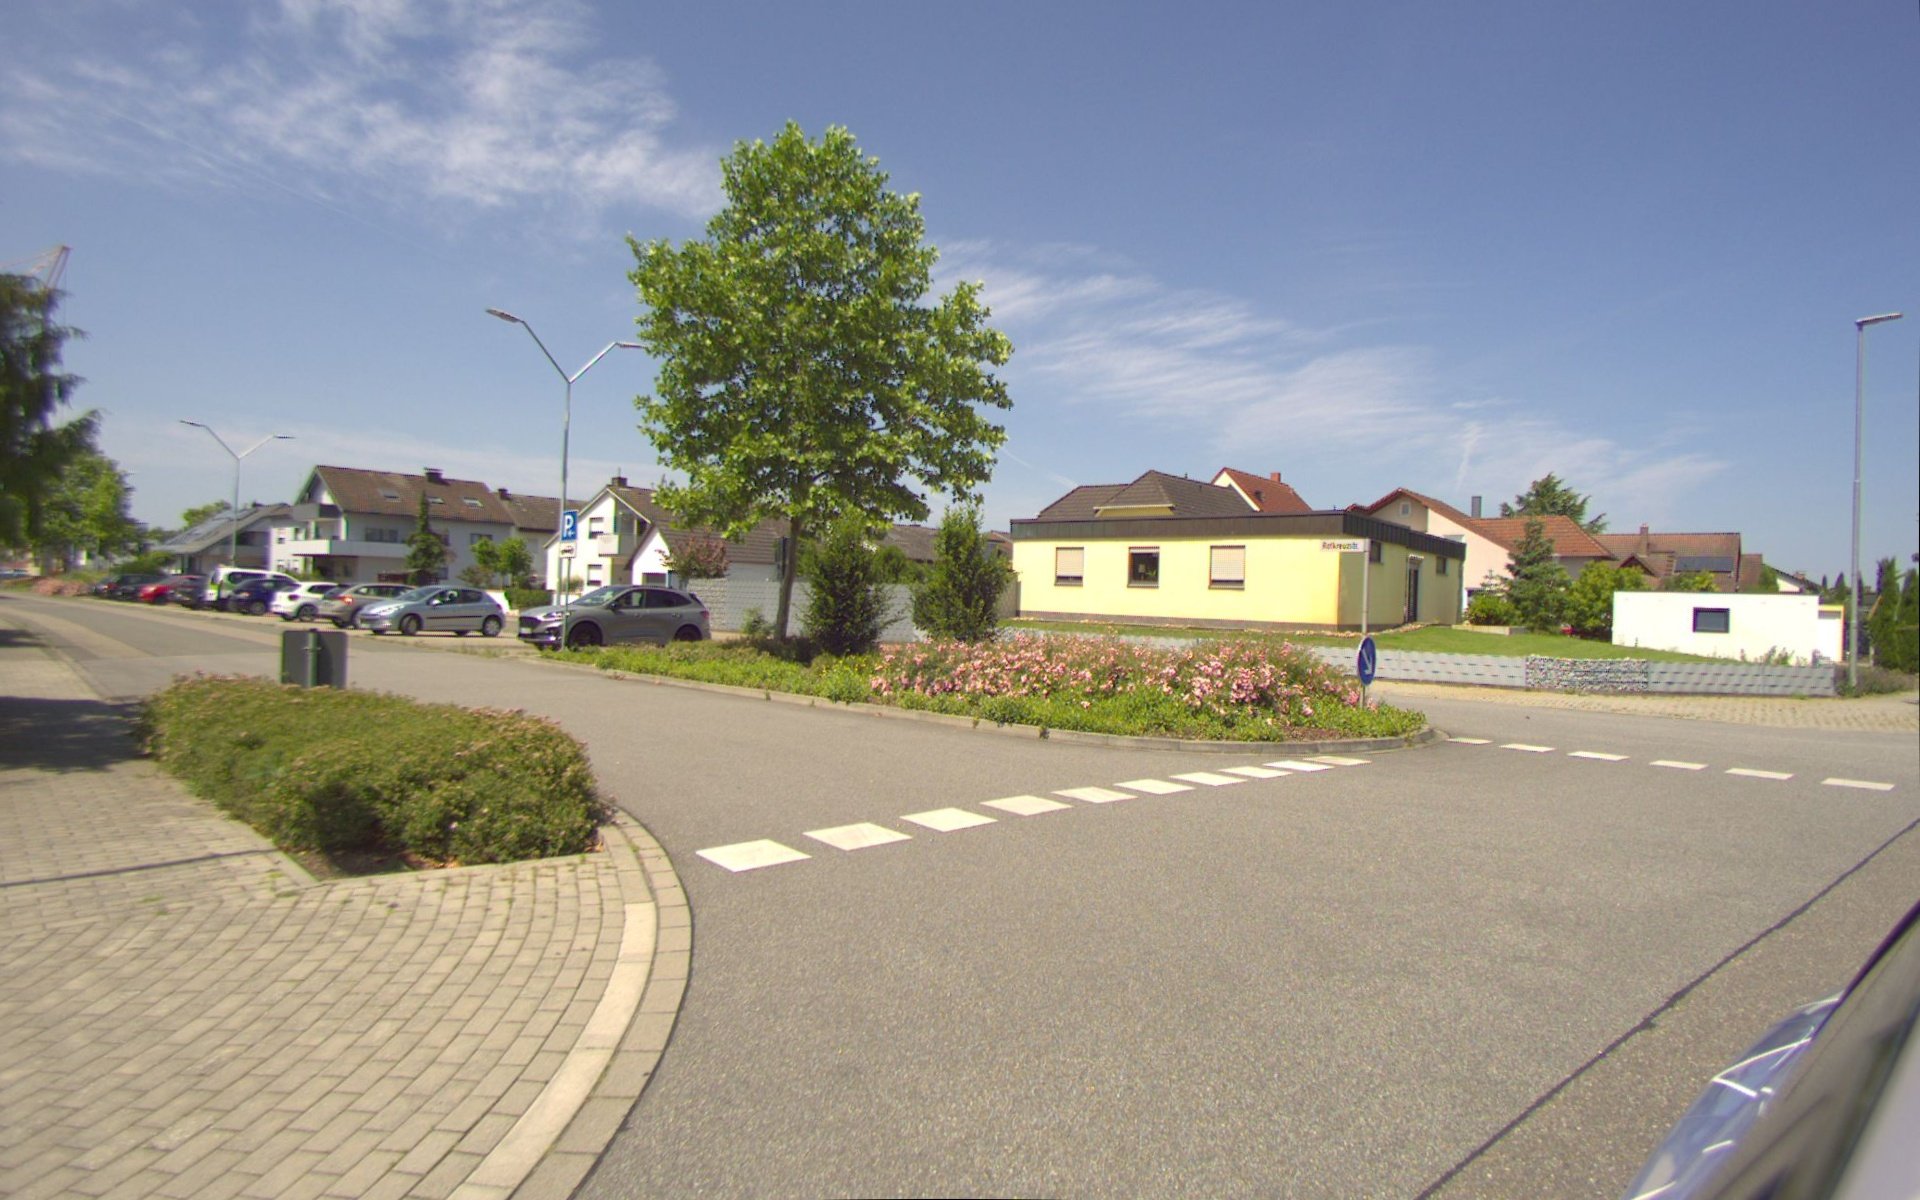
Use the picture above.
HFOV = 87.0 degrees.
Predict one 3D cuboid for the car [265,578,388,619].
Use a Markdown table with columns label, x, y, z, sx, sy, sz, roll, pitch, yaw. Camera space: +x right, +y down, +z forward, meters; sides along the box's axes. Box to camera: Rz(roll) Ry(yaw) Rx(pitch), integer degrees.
| label | x | y | z | sx | sy | sz | roll | pitch | yaw |
| --- | --- | --- | --- | --- | --- | --- | --- | --- | --- |
| car | -22.525 | -0.032 | 36.066 | 1.508 | 1.374 | 3.451 | -1 | -2 | 41 |

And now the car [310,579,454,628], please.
| label | x | y | z | sx | sy | sz | roll | pitch | yaw |
| --- | --- | --- | --- | --- | --- | --- | --- | --- | --- |
| car | -18.295 | 0.106 | 32.140 | 1.639 | 1.450 | 3.636 | 2 | 0 | 41 |

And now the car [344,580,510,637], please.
| label | x | y | z | sx | sy | sz | roll | pitch | yaw |
| --- | --- | --- | --- | --- | --- | --- | --- | --- | --- |
| car | -15.323 | 0.240 | 29.277 | 1.633 | 1.488 | 3.958 | 2 | 0 | 31 |

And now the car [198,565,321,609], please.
| label | x | y | z | sx | sy | sz | roll | pitch | yaw |
| --- | --- | --- | --- | --- | --- | --- | --- | --- | --- |
| car | -29.582 | -0.507 | 42.813 | 1.751 | 1.719 | 3.943 | 0 | -1 | 39 |

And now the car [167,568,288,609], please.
| label | x | y | z | sx | sy | sz | roll | pitch | yaw |
| --- | --- | --- | --- | --- | --- | --- | --- | --- | --- |
| car | -31.752 | -0.463 | 43.934 | 1.751 | 1.657 | 3.943 | 2 | 0 | 39 |

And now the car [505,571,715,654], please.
| label | x | y | z | sx | sy | sz | roll | pitch | yaw |
| --- | --- | --- | --- | --- | --- | --- | --- | --- | --- |
| car | -8.067 | 0.279 | 23.660 | 1.639 | 1.763 | 4.385 | 1 | 0 | 41 |

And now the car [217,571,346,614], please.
| label | x | y | z | sx | sy | sz | roll | pitch | yaw |
| --- | --- | --- | --- | --- | --- | --- | --- | --- | --- |
| car | -27.245 | -0.271 | 40.726 | 1.751 | 1.616 | 3.943 | 2 | 0 | 39 |

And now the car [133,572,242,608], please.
| label | x | y | z | sx | sy | sz | roll | pitch | yaw |
| --- | --- | --- | --- | --- | --- | --- | --- | --- | --- |
| car | -38.033 | -0.467 | 49.878 | 1.751 | 1.657 | 3.943 | 2 | 0 | 39 |
